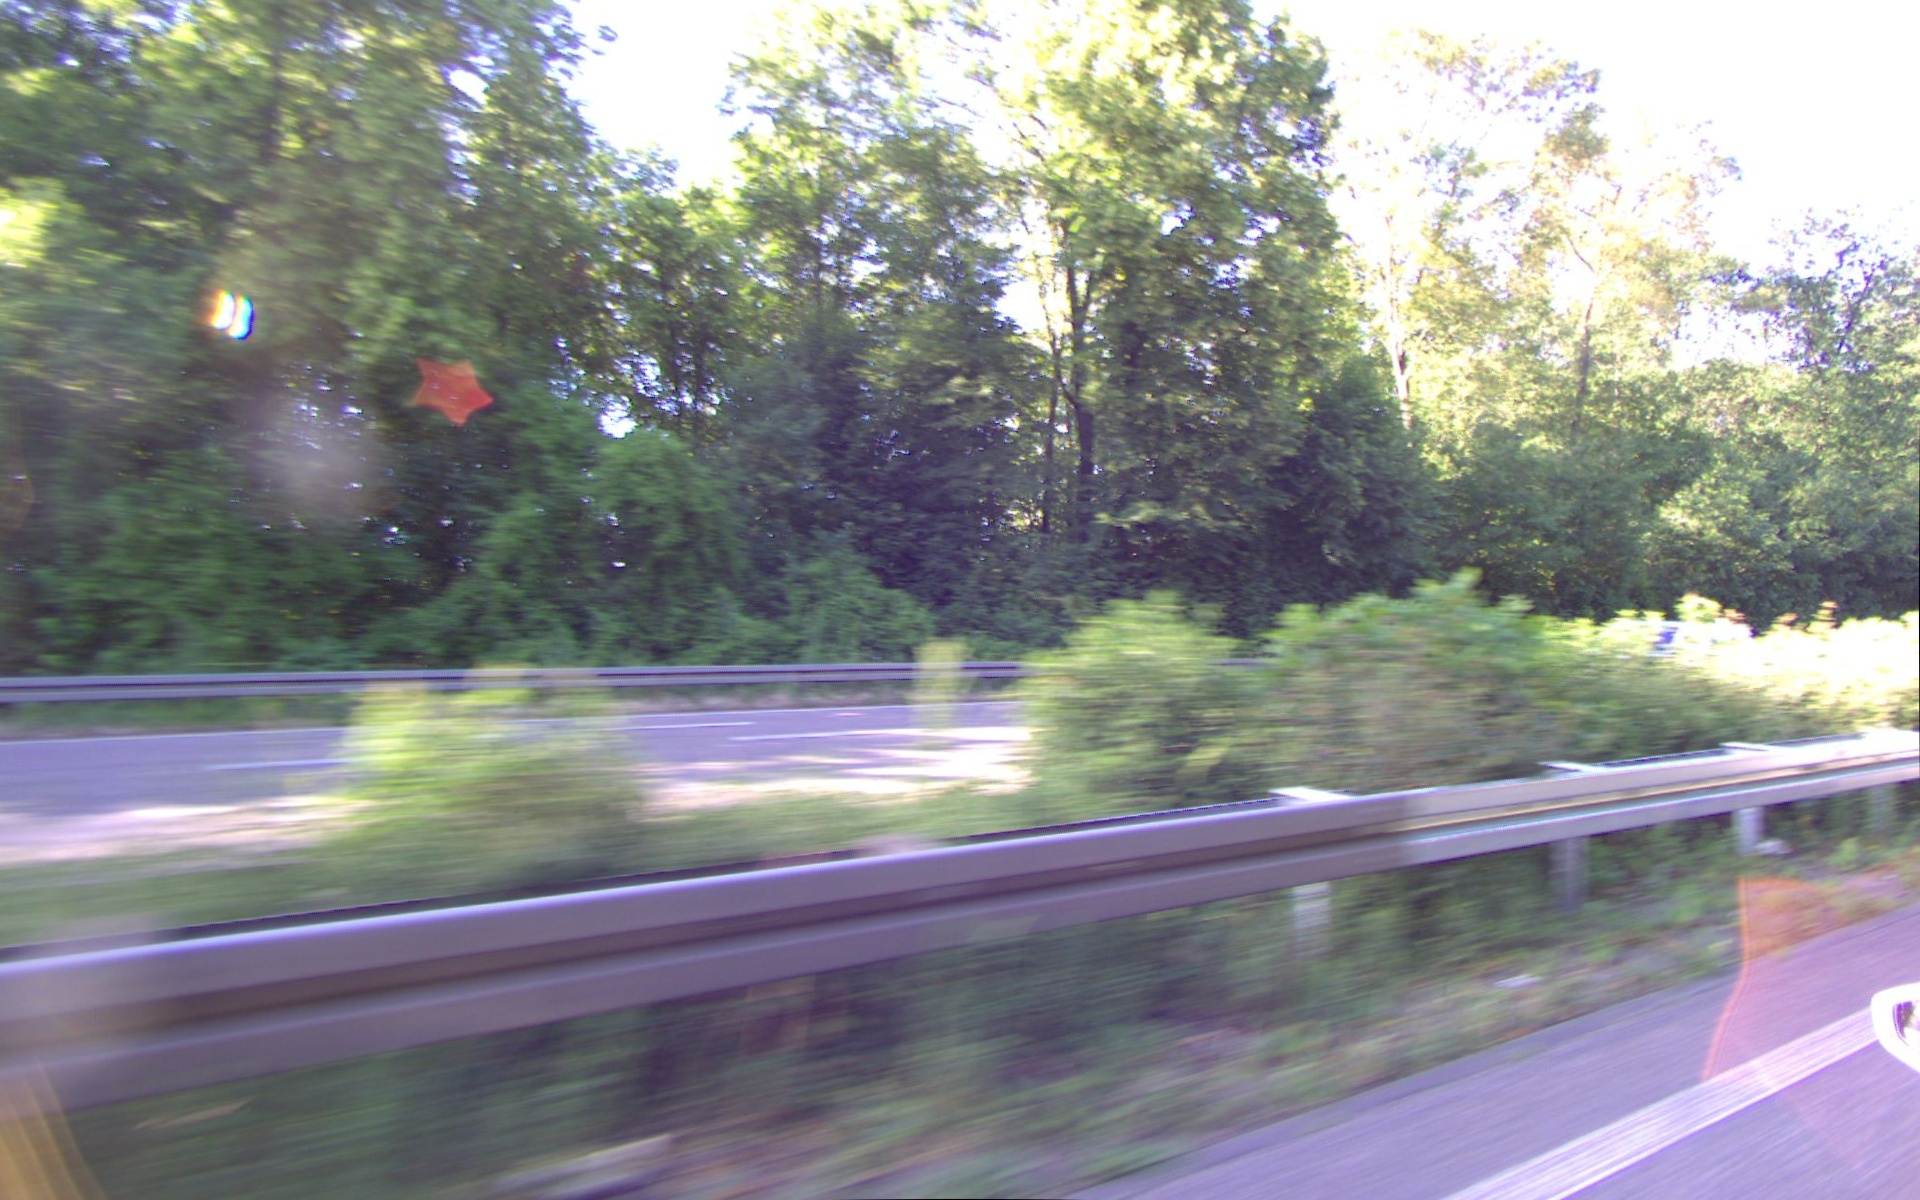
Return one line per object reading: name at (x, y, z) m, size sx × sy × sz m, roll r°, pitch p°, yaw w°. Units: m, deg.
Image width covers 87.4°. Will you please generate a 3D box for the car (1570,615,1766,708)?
car at (16.197, 1.362, 22.925) m, size 4.657 × 1.885 × 1.983 m, roll 2°, pitch 0°, yaw -32°
